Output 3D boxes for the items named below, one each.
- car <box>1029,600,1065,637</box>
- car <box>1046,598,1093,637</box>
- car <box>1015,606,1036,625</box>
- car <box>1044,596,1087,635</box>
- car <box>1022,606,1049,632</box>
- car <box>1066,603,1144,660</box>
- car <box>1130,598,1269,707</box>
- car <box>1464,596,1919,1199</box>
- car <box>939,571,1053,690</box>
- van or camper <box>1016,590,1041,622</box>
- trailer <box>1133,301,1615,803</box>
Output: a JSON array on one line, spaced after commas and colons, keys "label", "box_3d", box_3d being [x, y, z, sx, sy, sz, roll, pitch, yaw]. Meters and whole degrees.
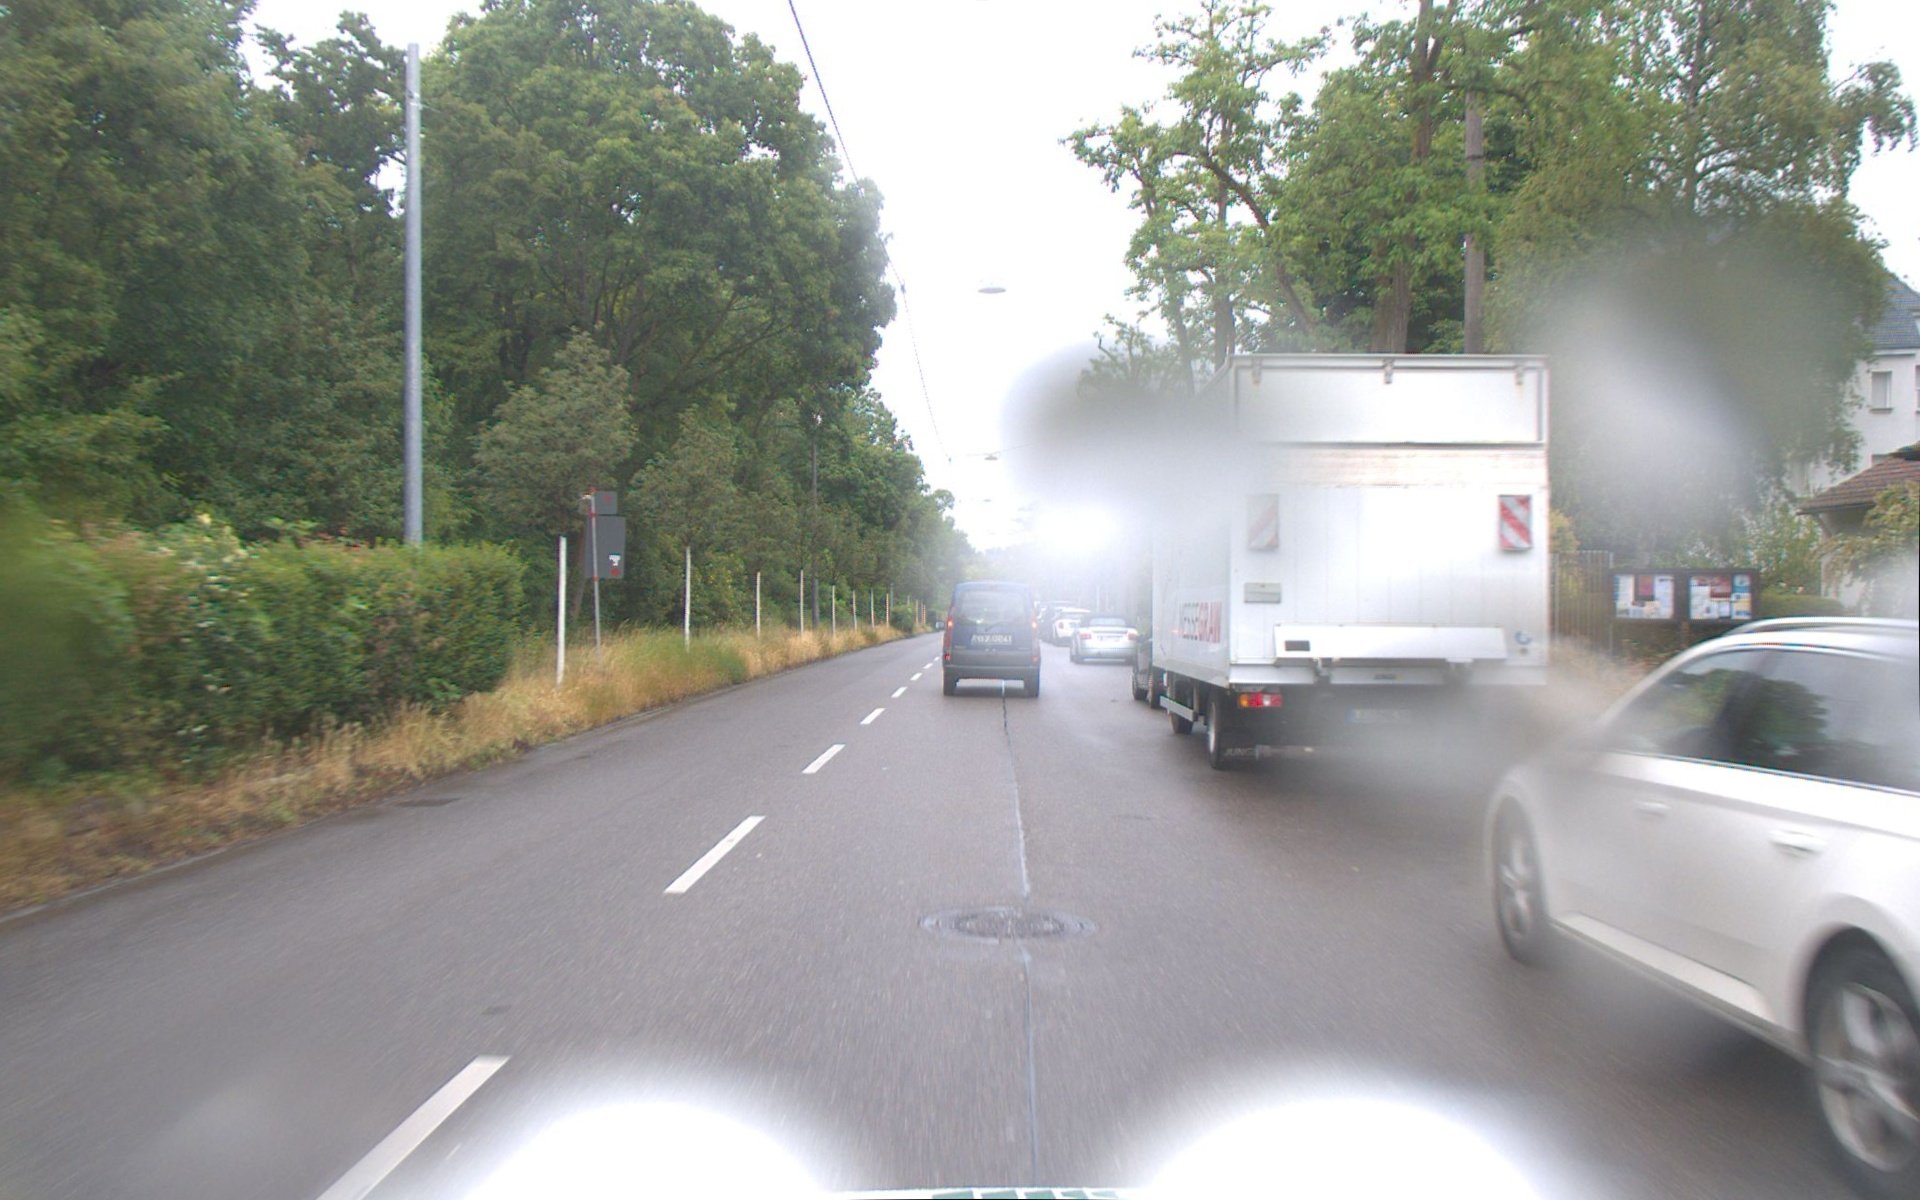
[{"label": "car", "box_3d": [4.984, 1.040, 95.218, 1.952, 2.049, 4.889, 1, 0, 2]}, {"label": "car", "box_3d": [4.341, 0.685, 66.015, 1.702, 1.490, 3.725, 1, 0, 1]}, {"label": "car", "box_3d": [5.471, 1.299, 137.642, 1.591, 1.489, 3.809, 1, 0, 4]}, {"label": "car", "box_3d": [4.511, 0.629, 70.963, 1.644, 1.583, 4.076, 1, 0, 1]}, {"label": "car", "box_3d": [5.673, 1.428, 124.209, 1.777, 1.845, 4.282, 2, 0, 0]}, {"label": "car", "box_3d": [3.844, 0.807, 44.345, 1.745, 1.420, 4.000, 1, 0, 0]}, {"label": "car", "box_3d": [3.586, 0.737, 25.329, 1.607, 1.489, 4.001, 1, 0, 1]}, {"label": "car", "box_3d": [3.209, 0.754, 5.352, 1.759, 1.500, 4.548, 1, 0, 0]}, {"label": "car", "box_3d": [0.541, 0.478, 27.958, 1.731, 1.862, 3.541, 1, 0, -2]}, {"label": "van or camper", "box_3d": [6.025, 0.501, 145.283, 2.035, 2.697, 5.347, 1, 0, 1]}, {"label": "trailer", "box_3d": [3.421, -0.356, 16.055, 2.678, 3.569, 8.248, 1, 0, 1]}]
